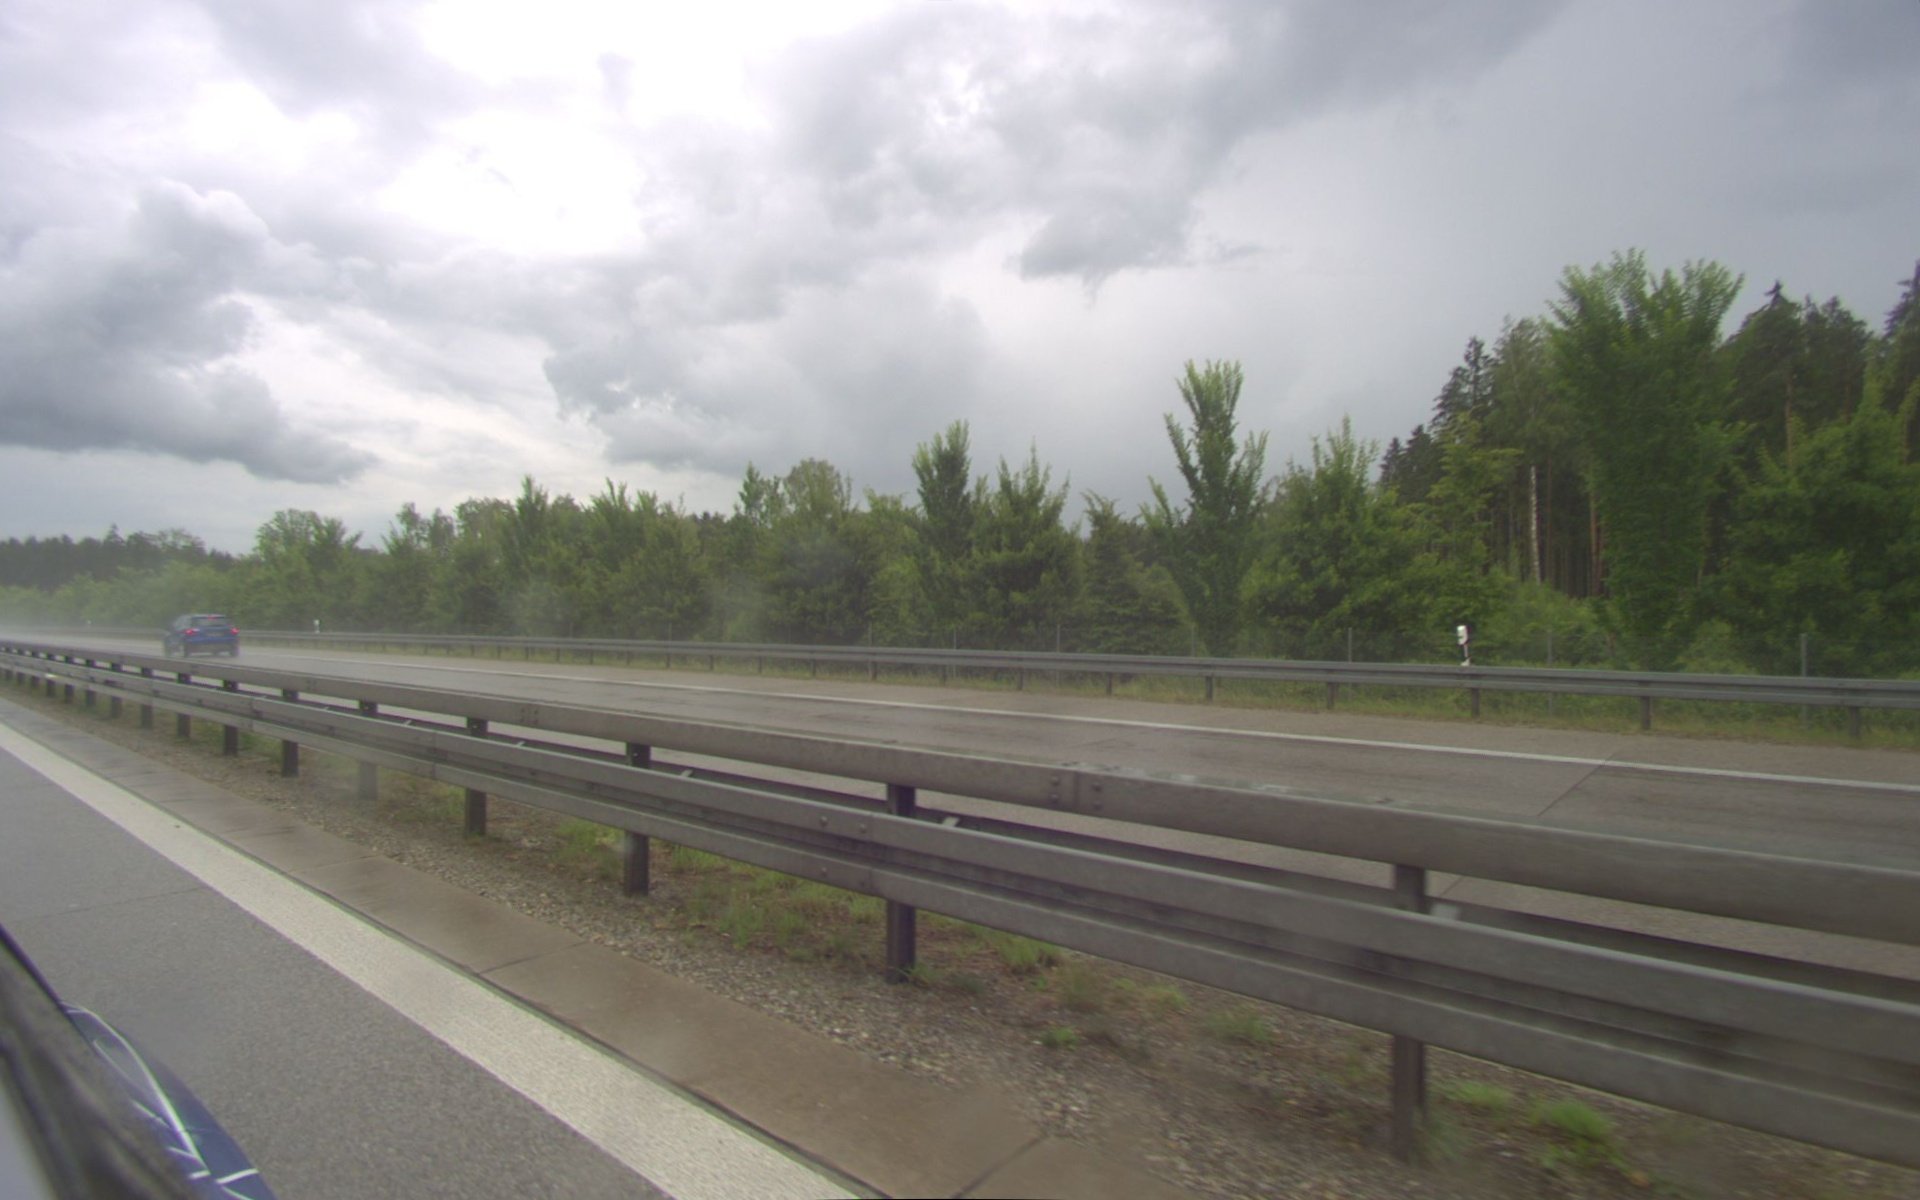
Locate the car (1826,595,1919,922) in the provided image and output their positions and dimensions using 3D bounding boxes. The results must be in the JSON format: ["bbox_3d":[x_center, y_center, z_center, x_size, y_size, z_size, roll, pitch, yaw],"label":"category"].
[{"bbox_3d":[6.695,0.779,4.667,3.996,1.632,1.776,-2,-4,39],"label":"car"}]

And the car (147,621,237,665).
[{"bbox_3d":[-29.562,1.606,38.899,4.217,1.510,1.882,0,0,40],"label":"car"}]
